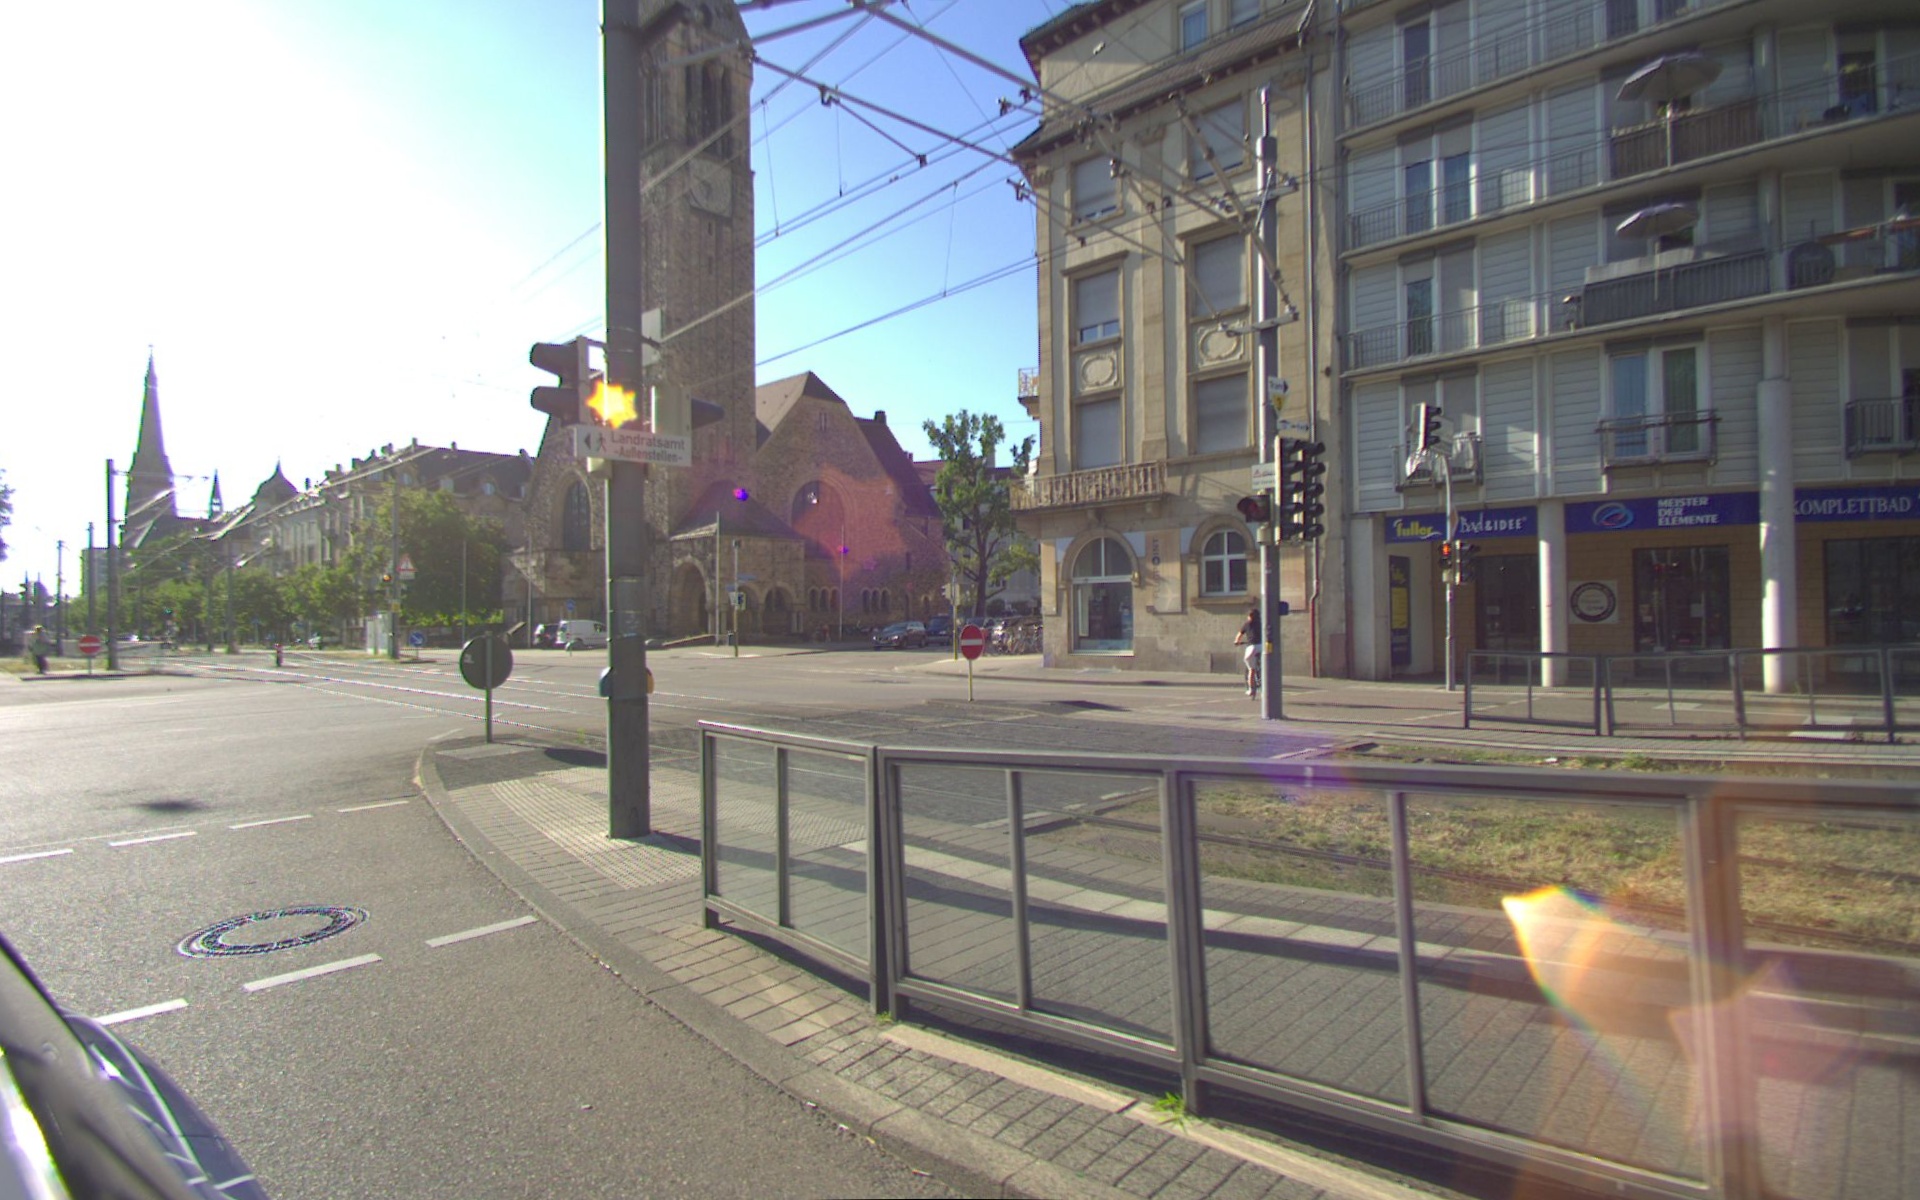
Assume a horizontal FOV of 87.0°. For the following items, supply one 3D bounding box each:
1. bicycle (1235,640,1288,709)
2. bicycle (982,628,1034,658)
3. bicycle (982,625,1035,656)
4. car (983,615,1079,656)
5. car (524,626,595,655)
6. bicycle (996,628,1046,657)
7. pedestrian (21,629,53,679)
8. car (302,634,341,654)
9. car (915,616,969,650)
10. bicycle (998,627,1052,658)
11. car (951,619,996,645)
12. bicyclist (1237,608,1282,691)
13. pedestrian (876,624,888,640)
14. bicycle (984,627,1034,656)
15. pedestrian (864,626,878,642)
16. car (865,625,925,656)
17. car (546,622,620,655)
[{"bbox_3d":[5.233,1.270,17.644,0.528,1.061,1.821,-2,-1,6],"label":"bicycle"},{"bbox_3d":[2.043,1.846,43.367,2.108,1.199,0.551,-2,0,17],"label":"bicycle"},{"bbox_3d":[2.023,1.691,42.364,2.108,1.199,0.526,-2,0,17],"label":"bicycle"},{"bbox_3d":[3.337,1.701,47.825,3.931,1.597,2.006,-3,-4,-21],"label":"car"},{"bbox_3d":[-26.342,2.661,66.623,1.769,1.642,3.986,-2,0,43],"label":"car"},{"bbox_3d":[2.693,1.868,44.685,2.110,1.199,0.525,-2,0,19],"label":"bicycle"},{"bbox_3d":[-31.062,1.799,34.059,0.925,1.633,0.670,-2,0,41],"label":"pedestrian"},{"bbox_3d":[-53.500,3.679,84.770,4.215,1.541,1.762,-2,0,44],"label":"car"},{"bbox_3d":[-1.129,2.075,64.928,1.985,1.882,4.461,-2,0,19],"label":"car"},{"bbox_3d":[2.685,1.737,41.561,2.108,1.199,0.526,-2,0,17],"label":"bicycle"},{"bbox_3d":[0.955,2.212,70.547,1.828,1.514,4.313,-2,0,19],"label":"car"},{"bbox_3d":[5.229,0.844,17.687,0.528,1.382,1.017,-2,-1,6],"label":"bicyclist"},{"bbox_3d":[-5.876,2.436,76.168,0.641,1.136,0.702,-4,2,-30],"label":"pedestrian"},{"bbox_3d":[2.148,1.825,44.238,2.108,1.199,0.526,-2,0,17],"label":"bicycle"},{"bbox_3d":[-6.687,2.540,75.929,0.753,1.136,0.786,-4,2,-21],"label":"pedestrian"},{"bbox_3d":[-3.605,2.252,56.993,1.828,1.430,4.259,-2,0,19],"label":"car"},{"bbox_3d":[-24.100,2.443,64.753,1.870,1.819,3.970,-2,0,43],"label":"car"}]
